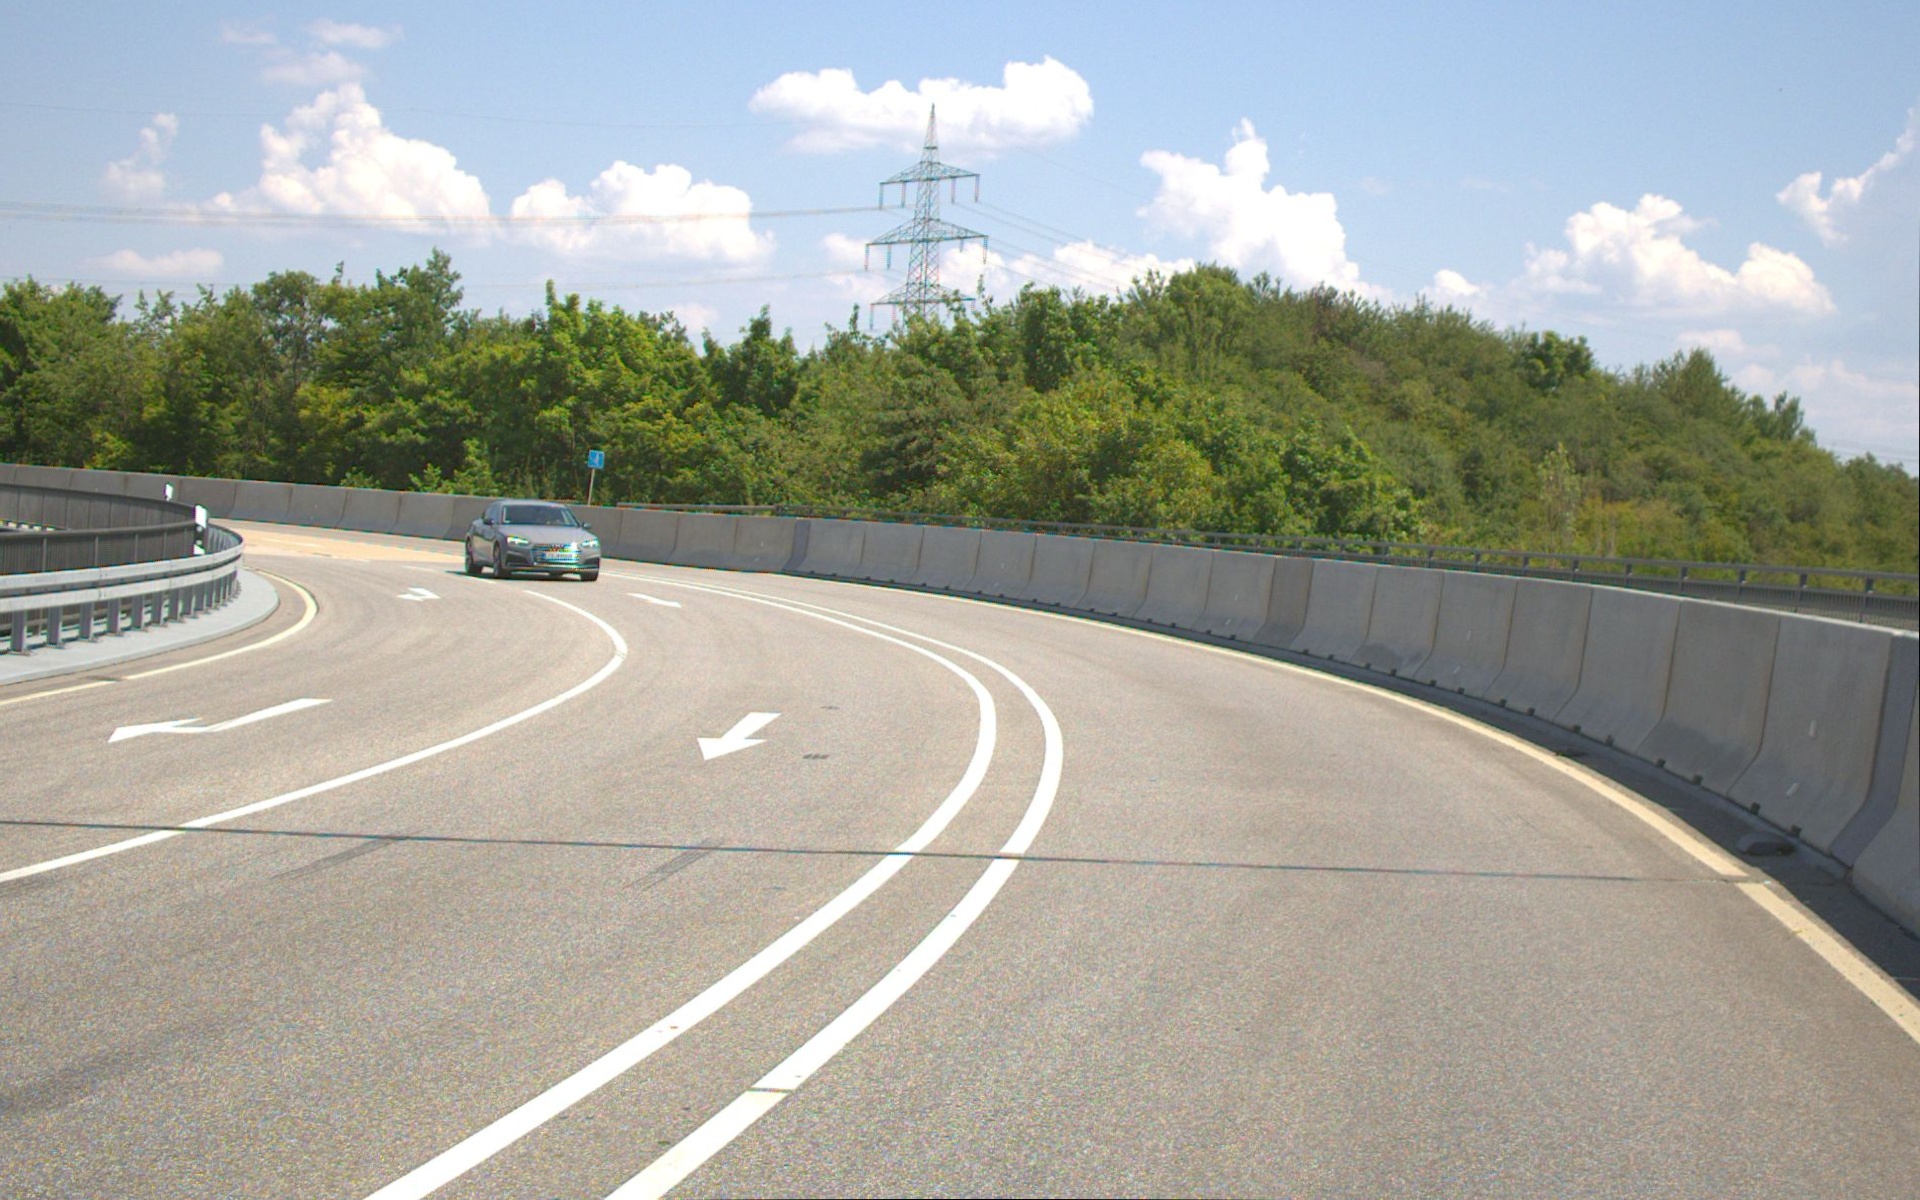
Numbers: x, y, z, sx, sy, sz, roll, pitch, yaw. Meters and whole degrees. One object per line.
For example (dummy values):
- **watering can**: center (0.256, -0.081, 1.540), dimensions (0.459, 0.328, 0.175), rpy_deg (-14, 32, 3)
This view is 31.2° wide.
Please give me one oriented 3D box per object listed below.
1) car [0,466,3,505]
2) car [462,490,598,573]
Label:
- **car**: center (-28.016, -3.845, 93.527), dimensions (1.994, 2.475, 5.481), rpy_deg (-7, 8, -34)
- **car**: center (-7.877, -1.267, 62.689), dimensions (1.778, 1.380, 4.284), rpy_deg (2, 2, -16)
